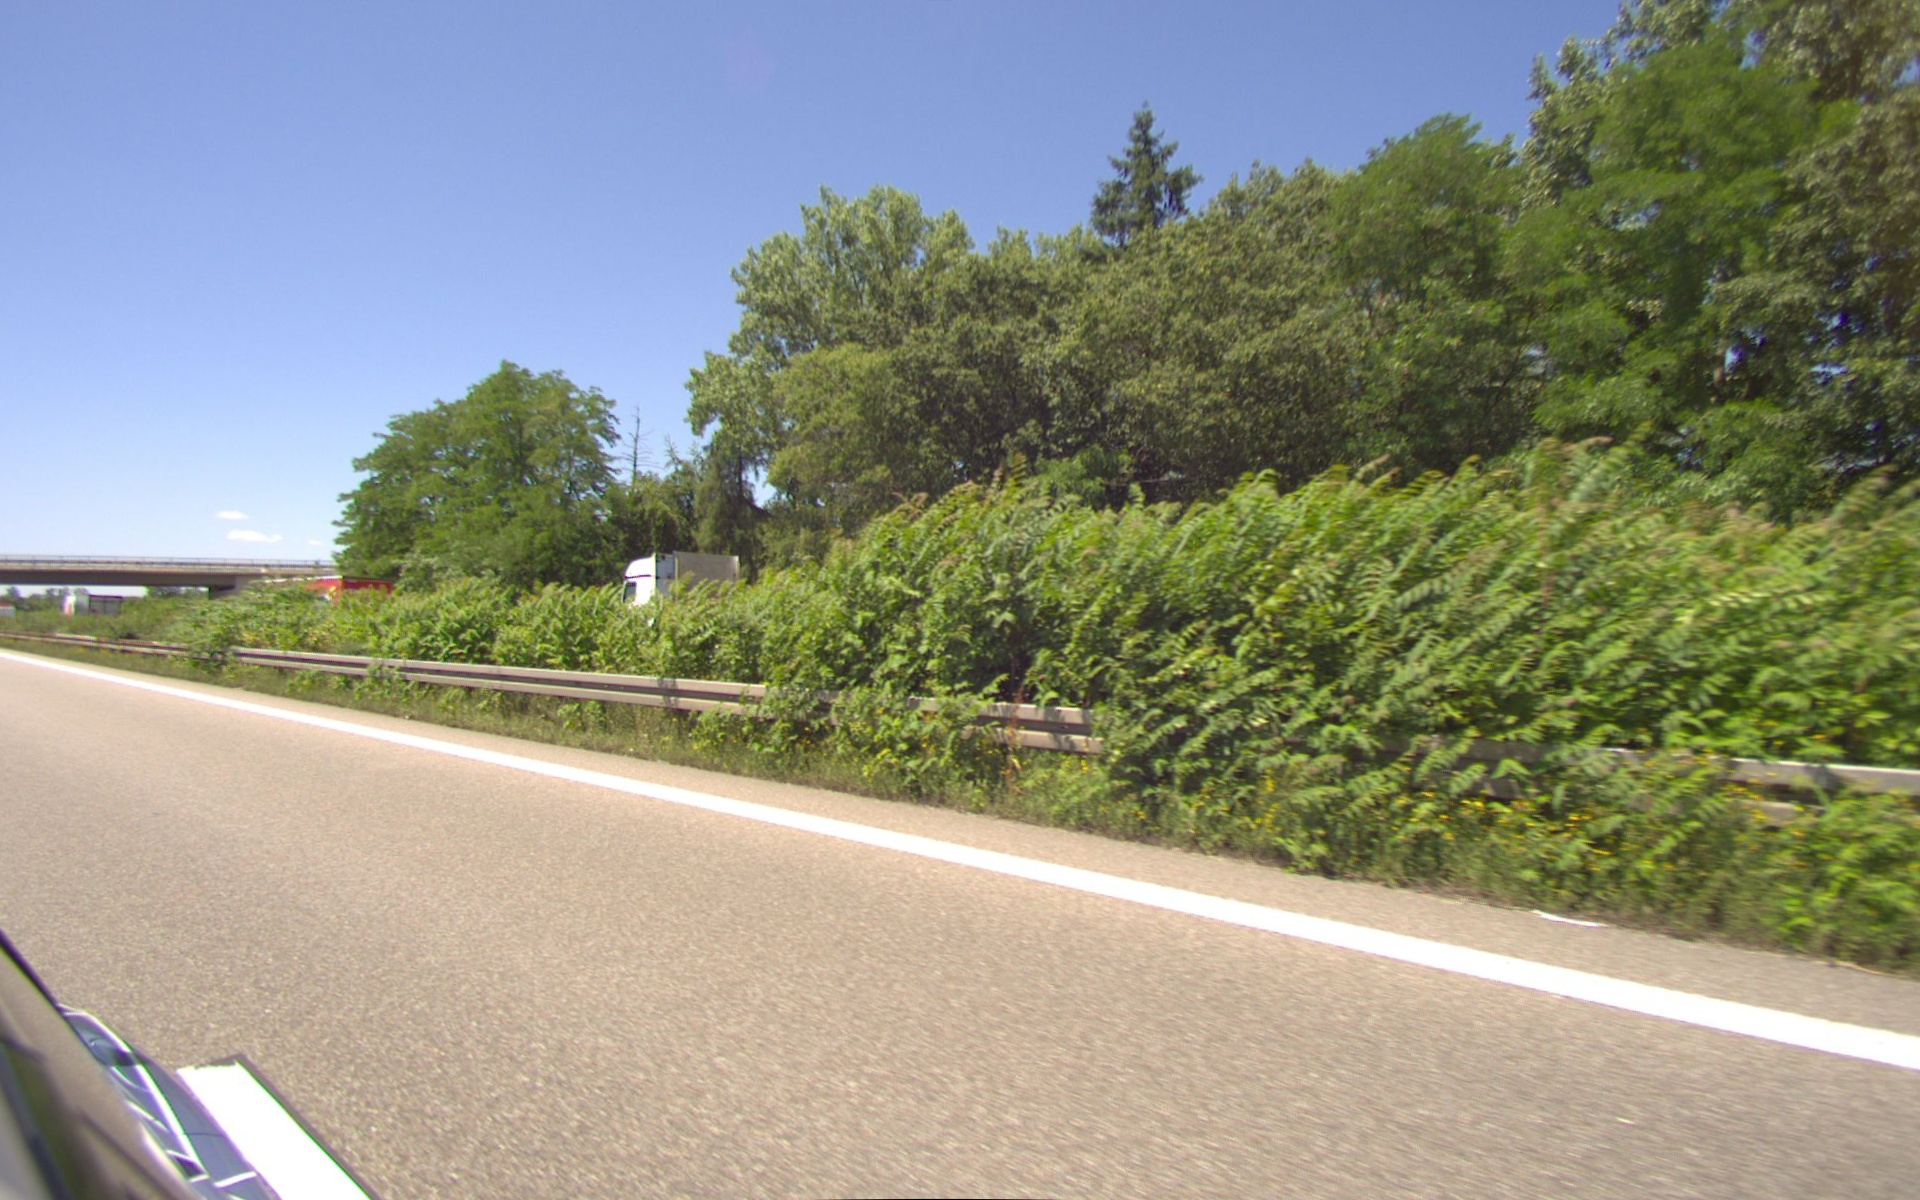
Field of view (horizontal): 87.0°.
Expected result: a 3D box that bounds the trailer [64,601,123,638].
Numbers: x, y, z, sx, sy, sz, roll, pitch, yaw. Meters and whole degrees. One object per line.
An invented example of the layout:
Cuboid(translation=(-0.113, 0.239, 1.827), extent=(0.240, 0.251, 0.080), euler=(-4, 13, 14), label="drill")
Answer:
Cuboid(translation=(-92.949, 2.127, 108.444), extent=(13.921, 3.738, 2.796), euler=(-1, 0, 41), label="trailer")

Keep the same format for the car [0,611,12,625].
Cuboid(translation=(-123.468, 2.340, 129.650), extent=(5.419, 1.794, 2.279), euler=(-1, 0, 40), label="car")

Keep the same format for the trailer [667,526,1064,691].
Cuboid(translation=(-3.385, 0.289, 28.478), extent=(13.686, 3.733, 2.563), euler=(-1, 0, 43), label="trailer")

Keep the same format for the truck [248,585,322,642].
Cuboid(translation=(-42.585, 0.825, 63.824), extent=(5.113, 3.448, 2.571), euler=(-1, 0, 41), label="truck")

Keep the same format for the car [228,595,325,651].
Cuboid(translation=(-33.672, 1.167, 49.765), extent=(6.513, 2.420, 2.279), euler=(-4, -2, 40), label="car")

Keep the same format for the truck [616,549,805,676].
Cuboid(translation=(-8.250, 0.406, 32.940), extent=(6.826, 3.733, 2.563), euler=(-1, 0, 43), label="truck")

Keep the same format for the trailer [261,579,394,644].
Cuboid(translation=(-37.307, 0.698, 59.272), extent=(14.147, 3.443, 2.560), euler=(-1, 0, 41), label="trailer")
